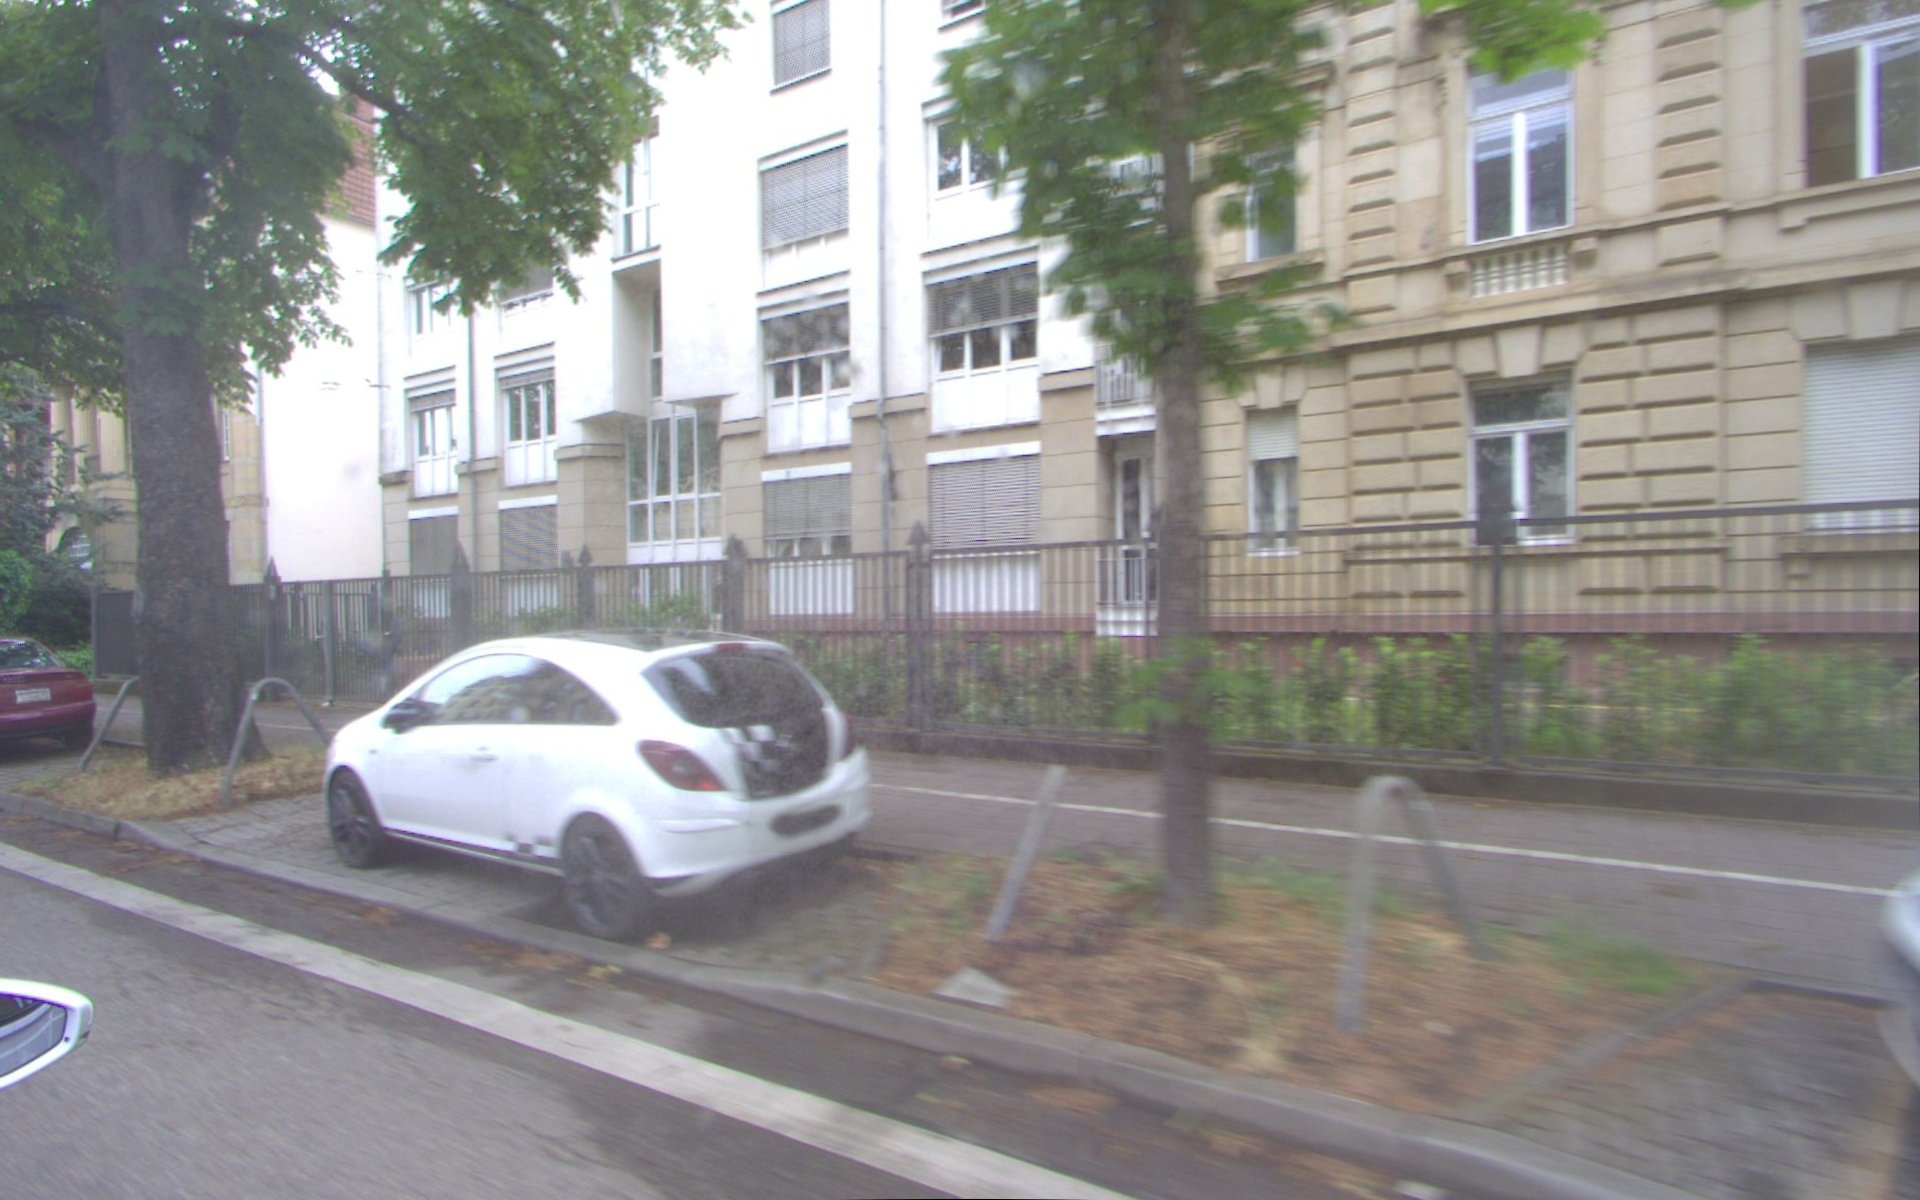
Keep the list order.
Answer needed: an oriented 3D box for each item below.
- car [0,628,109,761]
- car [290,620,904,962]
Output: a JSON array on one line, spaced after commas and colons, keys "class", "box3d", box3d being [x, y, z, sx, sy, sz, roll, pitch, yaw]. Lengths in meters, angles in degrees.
[{"class": "car", "box3d": [-12.379, 1.105, 12.402, 4.167, 1.418, 1.598, -1, 2, 32]}, {"class": "car", "box3d": [-2.324, 0.889, 6.138, 3.724, 1.455, 1.598, -1, 2, 33]}]
